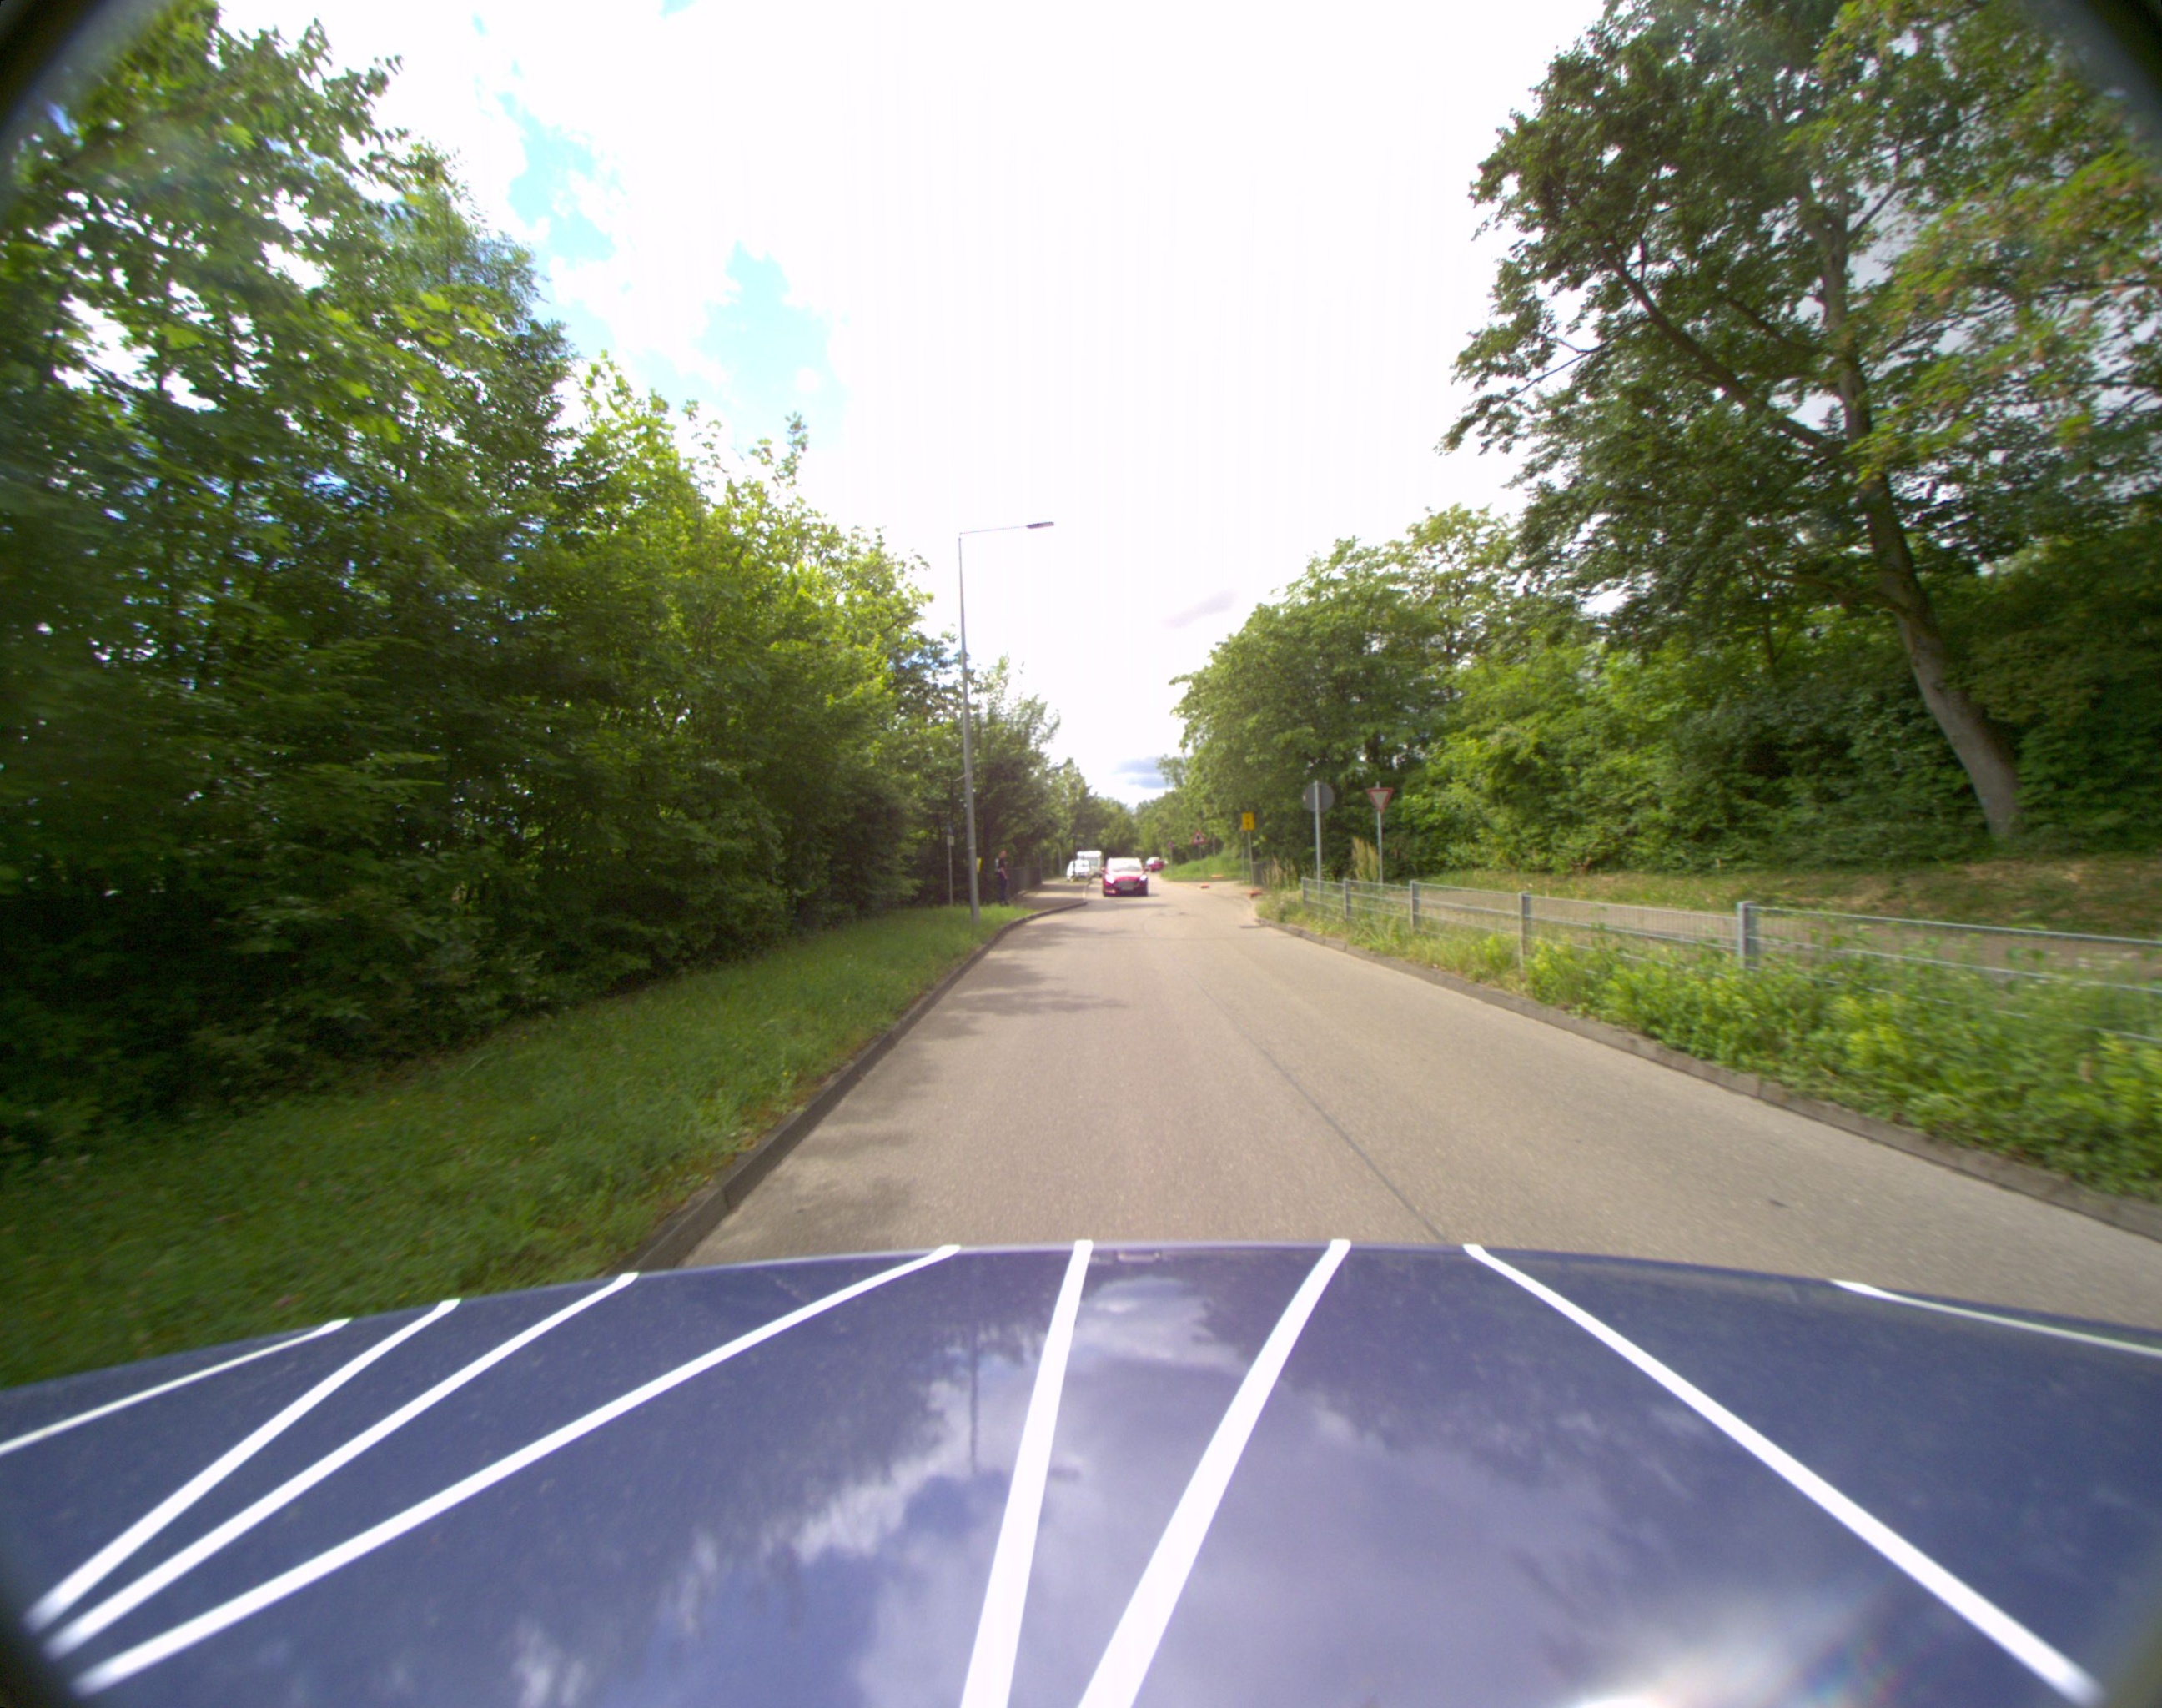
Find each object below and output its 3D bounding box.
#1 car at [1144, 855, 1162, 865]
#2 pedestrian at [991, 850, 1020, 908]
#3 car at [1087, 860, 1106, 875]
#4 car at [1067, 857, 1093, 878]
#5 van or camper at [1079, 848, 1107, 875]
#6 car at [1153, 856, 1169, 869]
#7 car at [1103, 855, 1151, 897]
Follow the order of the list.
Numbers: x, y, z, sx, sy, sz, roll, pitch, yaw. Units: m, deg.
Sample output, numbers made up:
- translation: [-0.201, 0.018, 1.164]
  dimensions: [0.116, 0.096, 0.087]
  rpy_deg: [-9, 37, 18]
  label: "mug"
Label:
- translation: [11.940, 0.907, 125.380]
  dimensions: [1.864, 1.469, 4.908]
  rpy_deg: [1, 1, 19]
  label: "car"
- translation: [-2.375, 0.762, 23.841]
  dimensions: [0.683, 1.773, 0.587]
  rpy_deg: [-2, 1, -26]
  label: "pedestrian"
- translation: [1.610, 1.399, 79.721]
  dimensions: [1.685, 1.442, 4.482]
  rpy_deg: [-1, 0, 5]
  label: "car"
- translation: [-0.044, 1.036, 59.669]
  dimensions: [1.809, 1.590, 4.373]
  rpy_deg: [0, -1, 3]
  label: "car"
- translation: [1.230, 0.721, 73.003]
  dimensions: [2.359, 2.539, 5.076]
  rpy_deg: [0, 0, 5]
  label: "van or camper"
- translation: [10.547, 1.146, 100.213]
  dimensions: [1.846, 1.649, 4.225]
  rpy_deg: [-1, -1, 10]
  label: "car"
- translation: [1.947, 0.915, 33.142]
  dimensions: [1.912, 1.688, 4.387]
  rpy_deg: [0, 0, 1]
  label: "car"
